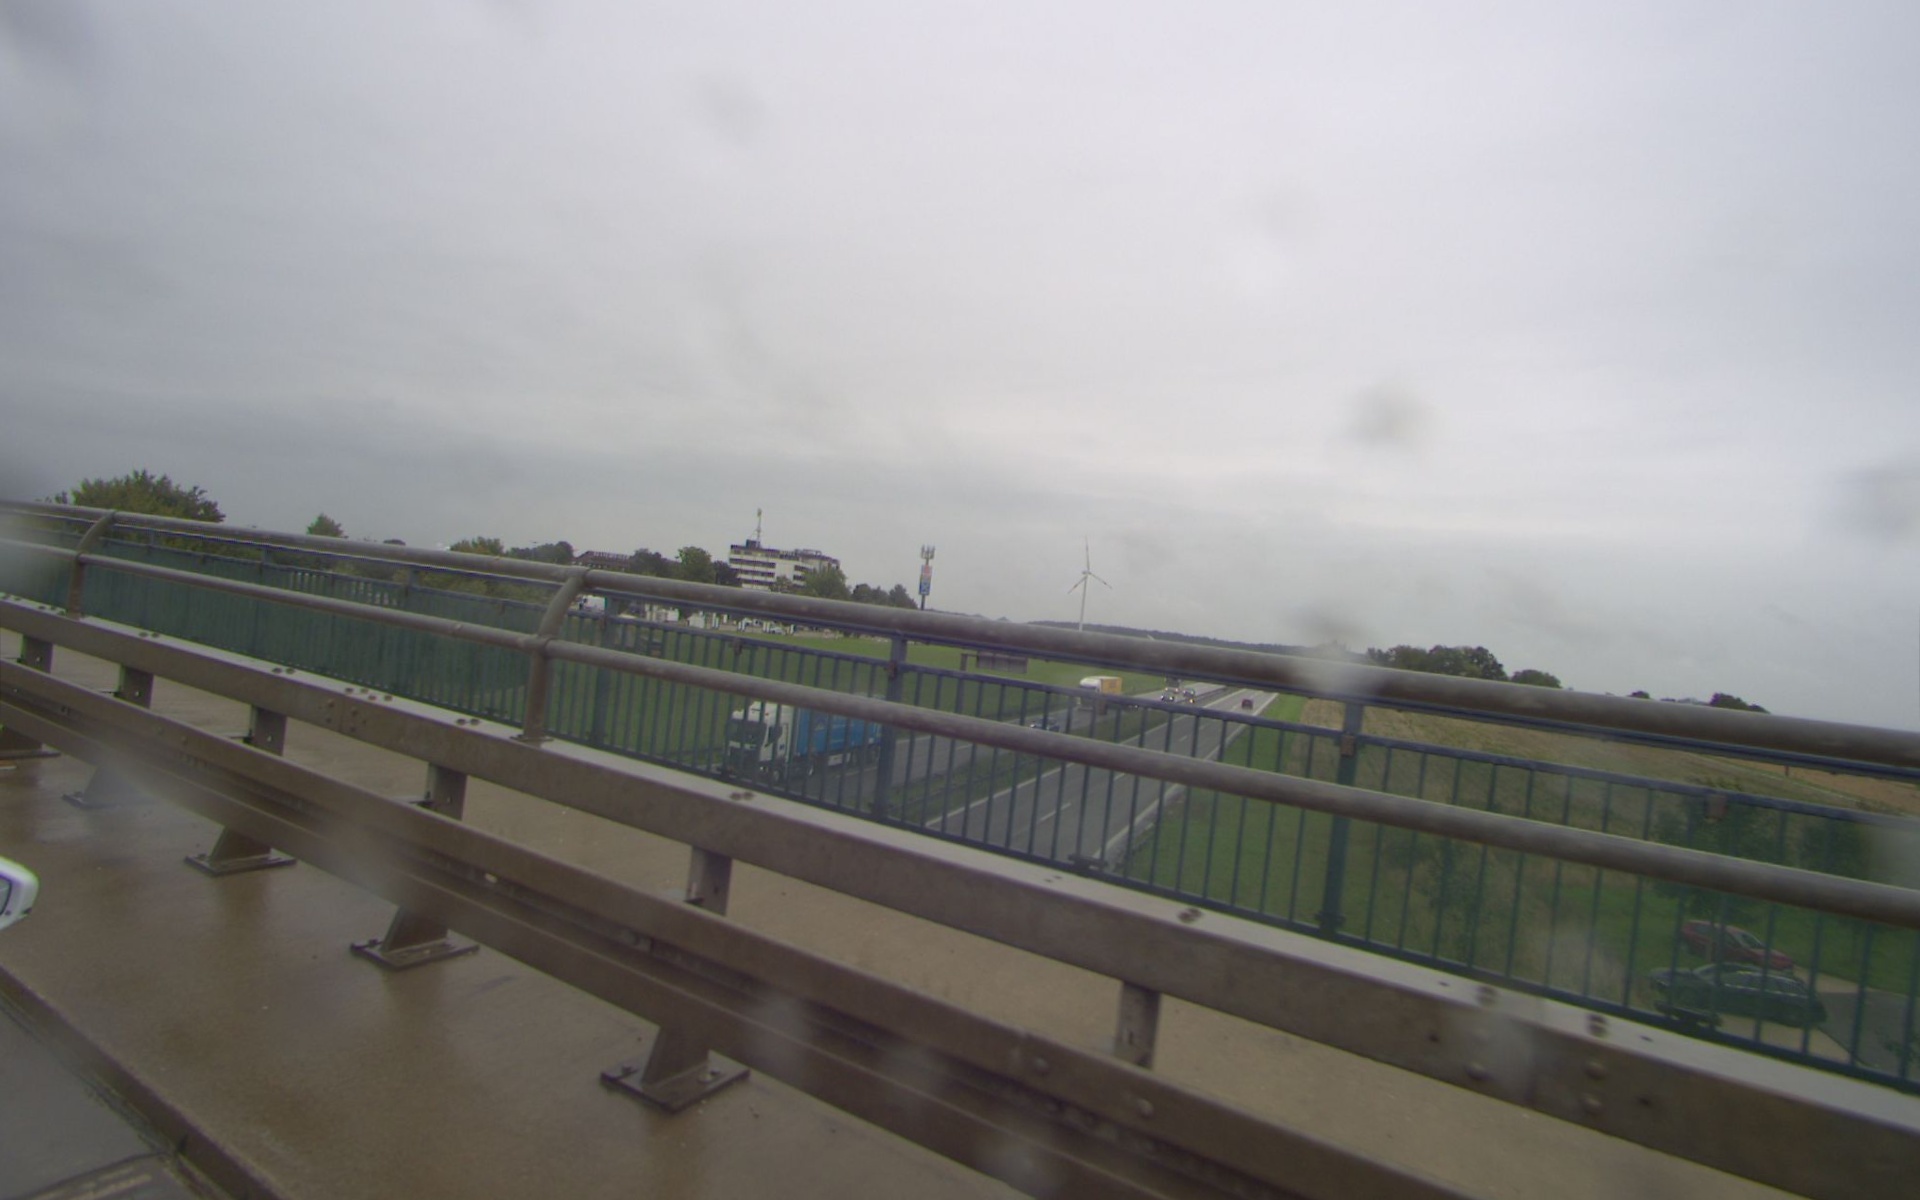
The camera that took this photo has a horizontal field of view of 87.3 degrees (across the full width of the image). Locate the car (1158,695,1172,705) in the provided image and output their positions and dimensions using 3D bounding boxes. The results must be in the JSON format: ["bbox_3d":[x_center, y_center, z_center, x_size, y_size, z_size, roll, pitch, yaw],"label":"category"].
[{"bbox_3d":[33.724,16.389,165.355,1.646,1.367,4.003,7,-1,19],"label":"car"}]

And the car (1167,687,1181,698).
[{"bbox_3d":[41.709,18.055,196.044,1.962,1.783,4.006,7,-3,18],"label":"car"}]

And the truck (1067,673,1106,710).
[{"bbox_3d":[15.617,11.211,124.006,2.828,4.016,6.822,8,0,20],"label":"truck"}]

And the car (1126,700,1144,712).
[{"bbox_3d":[23.186,14.023,133.024,1.646,1.366,4.005,7,-3,19],"label":"car"}]

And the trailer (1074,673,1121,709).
[{"bbox_3d":[17.976,11.670,130.545,2.828,4.015,14.028,7,-1,20],"label":"trailer"}]
